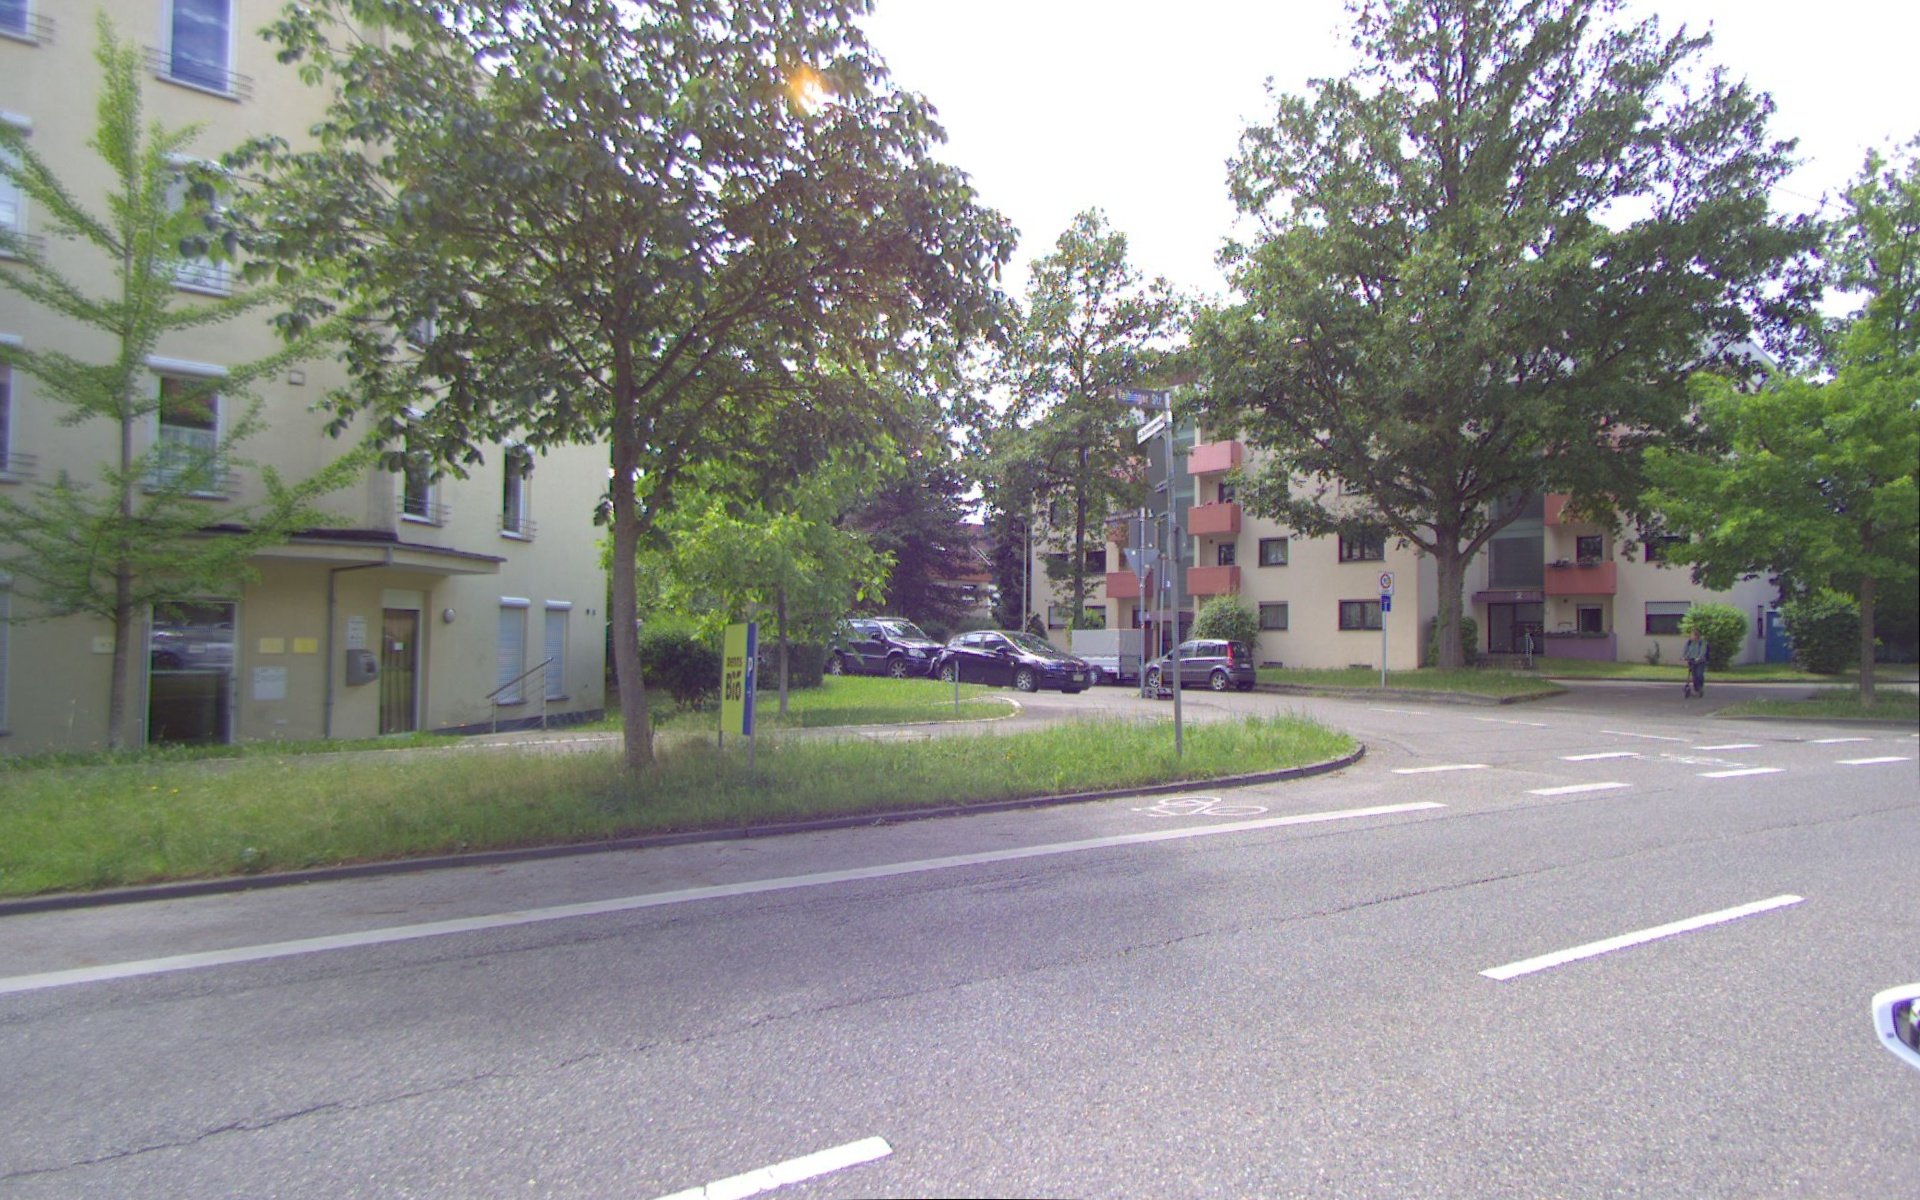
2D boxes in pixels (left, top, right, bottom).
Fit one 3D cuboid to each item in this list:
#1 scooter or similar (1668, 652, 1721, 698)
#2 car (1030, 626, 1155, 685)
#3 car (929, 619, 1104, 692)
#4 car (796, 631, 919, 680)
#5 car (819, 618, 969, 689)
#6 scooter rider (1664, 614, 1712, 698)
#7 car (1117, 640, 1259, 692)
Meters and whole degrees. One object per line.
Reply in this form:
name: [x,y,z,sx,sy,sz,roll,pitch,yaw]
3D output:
scooter or similar: [18.414,1.871,25.185,0.934,1.098,0.753,2,0,-30]
car: [4.444,1.911,34.148,1.832,1.868,3.952,2,-5,-42]
car: [1.246,1.252,23.792,1.725,1.417,4.100,2,0,-42]
car: [-4.007,2.135,39.195,4.337,1.817,2.124,-1,-2,28]
car: [-1.911,1.413,27.805,1.857,1.675,4.379,2,0,-41]
scooter rider: [18.318,1.397,25.282,0.785,2.040,0.673,2,0,-30]
car: [6.924,1.958,30.749,3.945,1.471,1.687,-2,-3,43]
